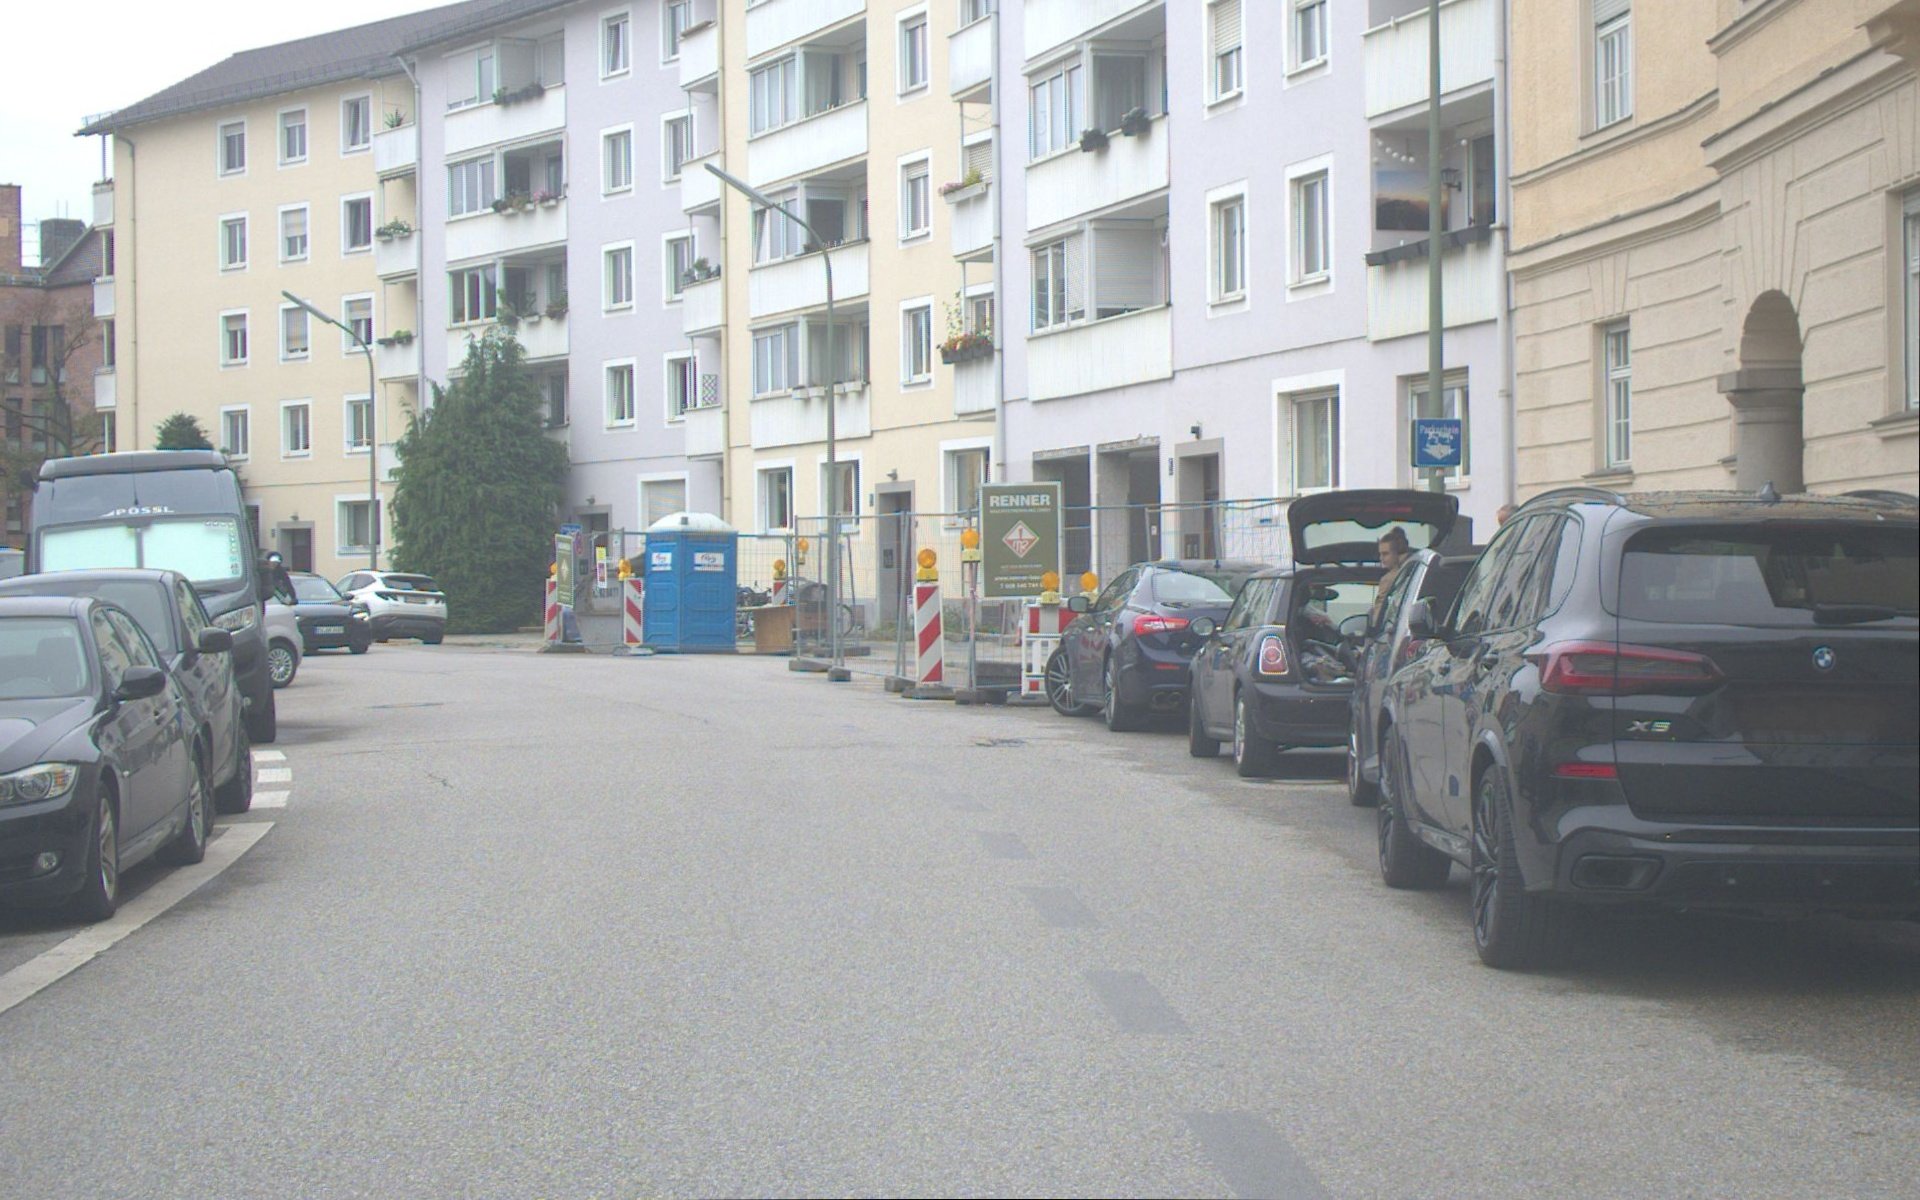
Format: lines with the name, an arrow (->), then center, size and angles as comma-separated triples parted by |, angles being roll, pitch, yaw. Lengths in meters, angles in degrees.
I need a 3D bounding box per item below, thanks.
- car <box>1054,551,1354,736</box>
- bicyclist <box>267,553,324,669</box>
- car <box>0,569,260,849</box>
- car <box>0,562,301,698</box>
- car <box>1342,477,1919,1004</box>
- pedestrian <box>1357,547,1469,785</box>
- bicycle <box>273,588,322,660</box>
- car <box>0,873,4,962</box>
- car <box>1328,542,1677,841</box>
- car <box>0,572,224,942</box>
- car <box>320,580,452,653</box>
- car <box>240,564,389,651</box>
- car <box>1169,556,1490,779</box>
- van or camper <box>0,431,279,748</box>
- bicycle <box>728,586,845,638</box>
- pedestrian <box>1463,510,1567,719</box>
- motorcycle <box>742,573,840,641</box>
car -> 2.054, 0.320, 30.378 | 1.908, 1.472, 4.947 | 0, 1, -5
bicyclist -> -10.404, 0.169, 53.827 | 0.744, 1.765, 0.815 | -3, 2, -14
car -> -5.062, 0.588, 20.147 | 1.519, 1.460, 2.887 | -3, 1, -5
car -> -10.383, 0.364, 43.315 | 1.713, 1.502, 3.801 | -2, 1, 40
car -> 2.929, 0.428, 13.900 | 2.170, 1.733, 5.024 | 1, 1, 0
pedestrian -> 2.944, 0.423, 22.367 | 0.628, 1.523, 0.578 | 0, 0, -1
bicycle -> -10.385, 0.369, 53.827 | 0.585, 1.066, 1.937 | -3, 1, -15
car -> -4.411, 0.695, 11.258 | 1.630, 1.489, 3.604 | -3, 1, -2
car -> 3.002, 0.454, 19.507 | 1.514, 1.549, 3.019 | 1, 1, 1
car -> -4.658, 0.654, 16.157 | 1.774, 1.460, 4.467 | -3, 1, -5
car -> -12.796, 0.343, 76.464 | 1.830, 1.568, 4.001 | 0, 0, -26
car -> -11.656, 0.136, 61.827 | 1.919, 1.407, 4.705 | -3, 1, -19
car -> 2.508, 0.417, 24.111 | 1.630, 1.412, 3.680 | 0, 1, -3
van or camper -> -7.386, -0.142, 31.107 | 2.296, 2.572, 6.087 | 0, 1, -12
bicycle -> -3.566, 0.241, 70.769 | 2.232, 1.066, 0.920 | 0, 0, -24
pedestrian -> 4.648, 0.115, 28.832 | 0.617, 1.684, 0.919 | -4, 0, 0
motorcycle -> -3.103, 0.112, 62.747 | 0.931, 1.217, 2.507 | 0, 0, -24
